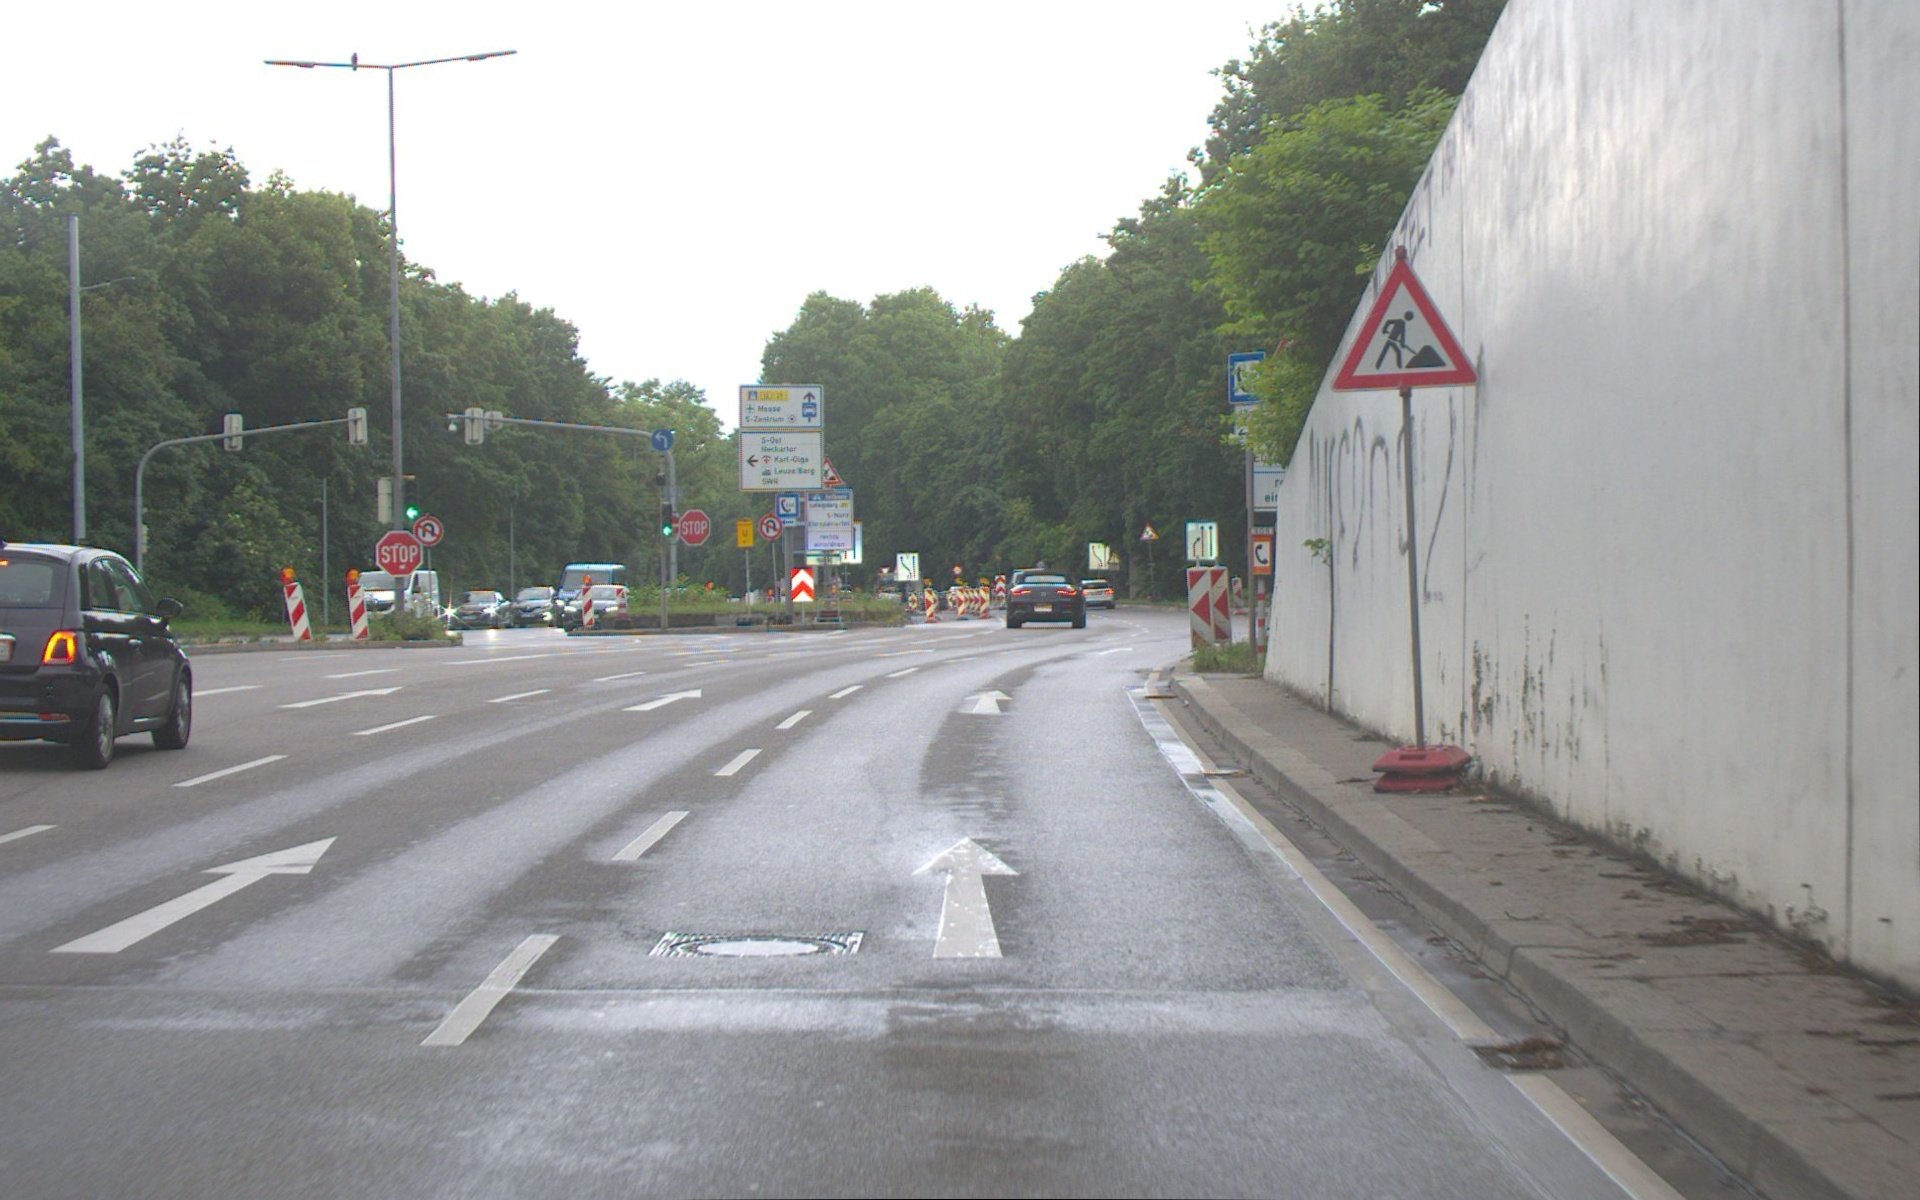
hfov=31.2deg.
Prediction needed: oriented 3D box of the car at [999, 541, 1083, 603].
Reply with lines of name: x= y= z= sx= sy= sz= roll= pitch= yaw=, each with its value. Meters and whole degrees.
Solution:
car: x=1.972 y=-0.676 z=84.019 sx=1.993 sy=1.443 sz=4.314 roll=0 pitch=0 yaw=1

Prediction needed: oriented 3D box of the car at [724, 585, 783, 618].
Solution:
car: x=-8.445 y=0.040 z=140.589 sx=2.009 sy=1.297 sz=4.315 roll=0 pitch=0 yaw=2

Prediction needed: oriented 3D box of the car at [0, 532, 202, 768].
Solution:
car: x=-6.336 y=0.283 z=23.595 sx=1.612 sy=1.449 sz=3.573 roll=1 pitch=2 yaw=-3

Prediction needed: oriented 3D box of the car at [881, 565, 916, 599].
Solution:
car: x=-3.707 y=-1.111 z=207.333 sx=1.993 sy=2.007 sz=4.000 roll=0 pitch=0 yaw=-2

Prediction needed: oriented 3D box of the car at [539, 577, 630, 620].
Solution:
car: x=-11.664 y=-0.057 z=107.010 sx=2.009 sy=1.297 sz=4.315 roll=0 pitch=0 yaw=5

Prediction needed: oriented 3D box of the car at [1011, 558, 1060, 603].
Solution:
car: x=3.415 y=-0.880 z=156.354 sx=1.993 sy=2.007 sz=4.000 roll=0 pitch=0 yaw=-2

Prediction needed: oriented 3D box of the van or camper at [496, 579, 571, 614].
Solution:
van or camper: x=-16.285 y=-0.130 z=131.413 sx=2.009 sy=1.297 sz=4.091 roll=0 pitch=0 yaw=5

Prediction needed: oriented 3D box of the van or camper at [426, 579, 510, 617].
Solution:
van or camper: x=-17.159 y=-0.069 z=120.081 sx=2.009 sy=1.297 sz=4.091 roll=0 pitch=0 yaw=5

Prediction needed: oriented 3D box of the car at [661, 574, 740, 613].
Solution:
car: x=-8.872 y=-0.219 z=117.933 sx=2.009 sy=1.297 sz=4.315 roll=0 pitch=0 yaw=5

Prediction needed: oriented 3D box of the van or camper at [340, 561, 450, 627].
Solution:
van or camper: x=-17.581 y=-0.195 z=107.194 sx=2.129 sy=2.007 sz=5.313 roll=0 pitch=0 yaw=5

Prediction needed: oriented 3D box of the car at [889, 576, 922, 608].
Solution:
car: x=-3.547 y=-0.523 z=222.323 sx=1.993 sy=2.007 sz=4.000 roll=0 pitch=0 yaw=-2

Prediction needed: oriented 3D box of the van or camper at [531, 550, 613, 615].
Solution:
van or camper: x=-14.132 y=-0.642 z=125.492 sx=2.129 sy=2.340 sz=4.426 roll=0 pitch=0 yaw=5
